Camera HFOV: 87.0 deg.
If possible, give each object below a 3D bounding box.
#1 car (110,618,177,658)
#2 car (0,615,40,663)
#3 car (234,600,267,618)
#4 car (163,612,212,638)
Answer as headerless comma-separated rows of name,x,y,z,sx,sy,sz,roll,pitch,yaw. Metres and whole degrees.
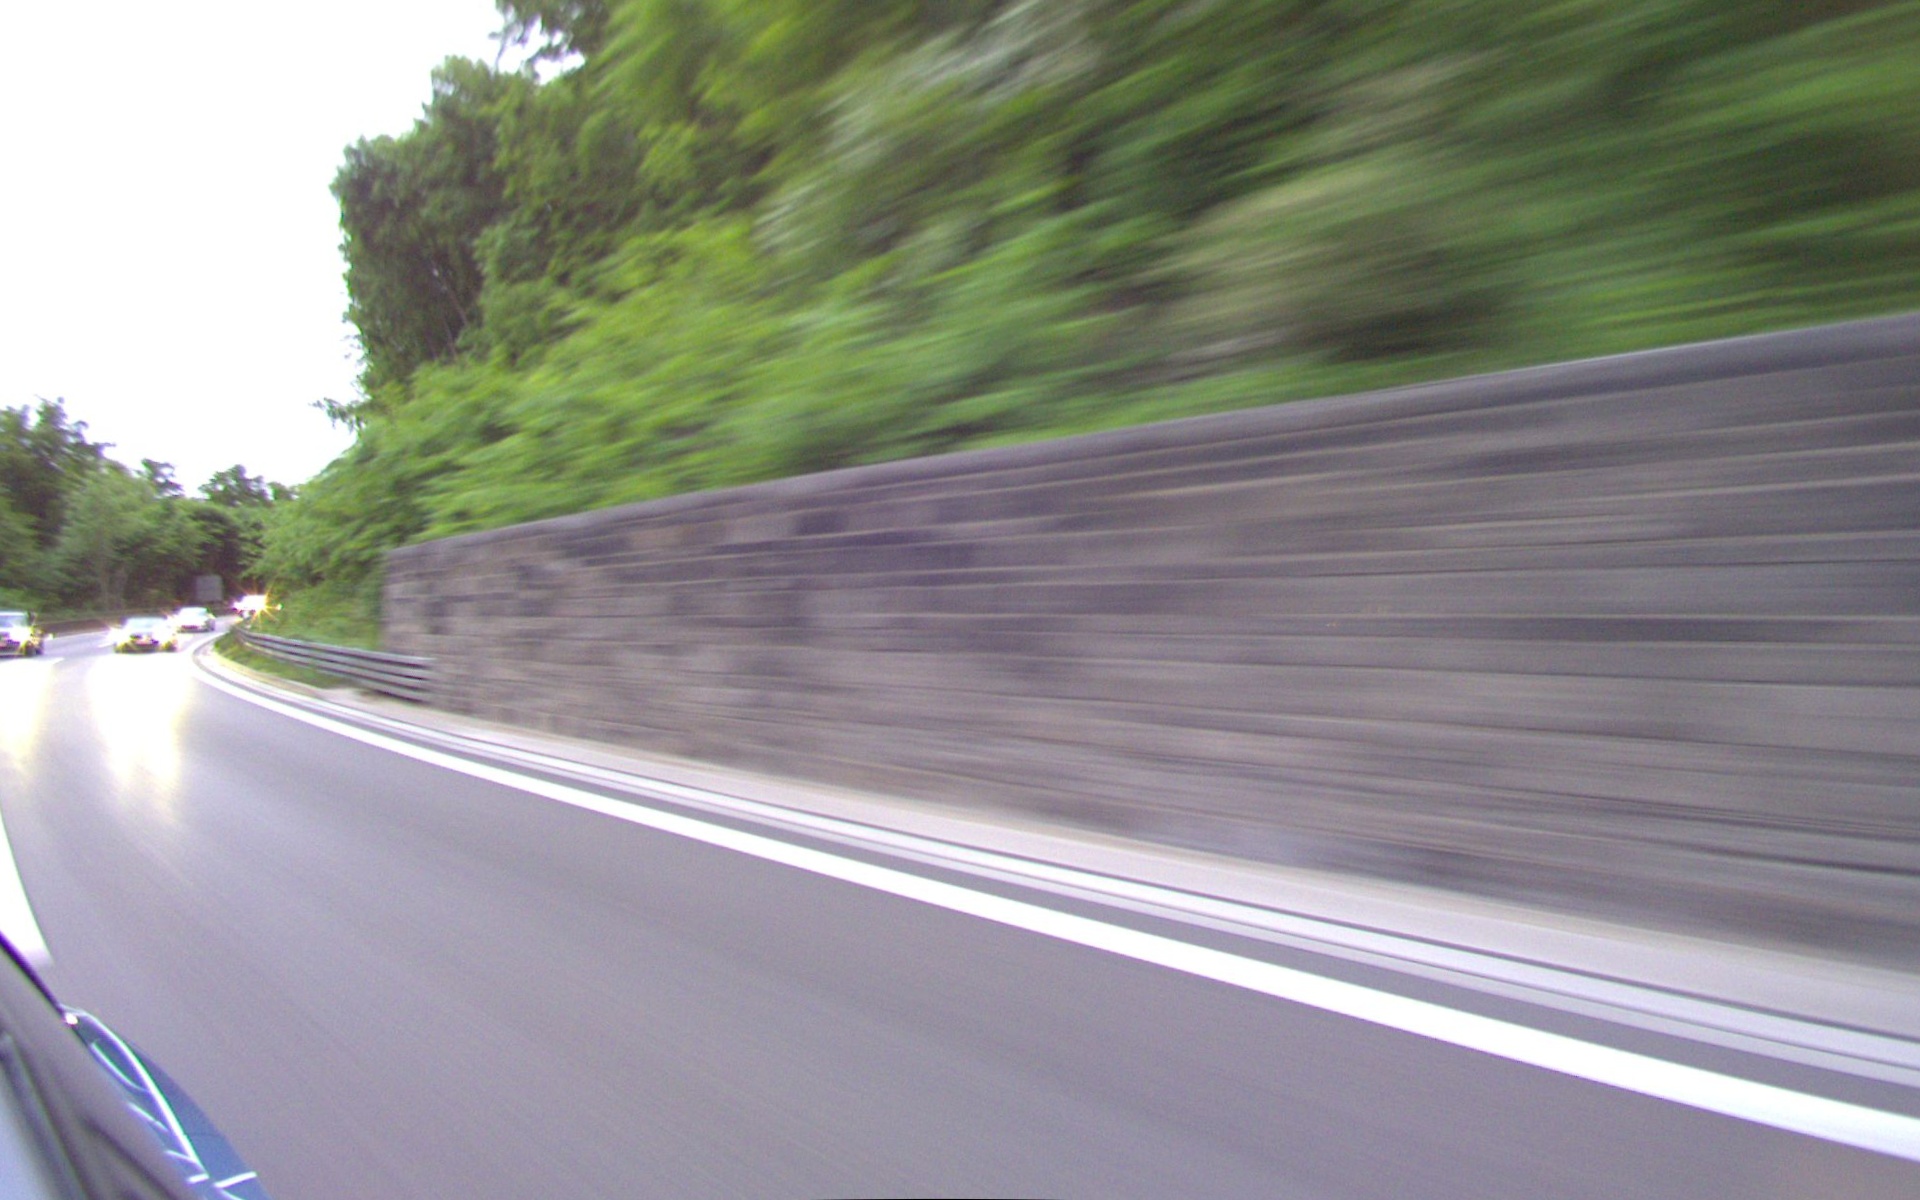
car,-33.150,1.515,41.168,1.967,1.519,4.009,2,-2,-37
car,-35.006,1.398,36.831,1.968,1.652,4.007,-2,0,-39
car,-68.045,0.863,97.109,1.965,1.630,4.013,-2,0,-25
car,-48.534,1.554,63.645,1.966,1.519,4.012,-2,0,-30
